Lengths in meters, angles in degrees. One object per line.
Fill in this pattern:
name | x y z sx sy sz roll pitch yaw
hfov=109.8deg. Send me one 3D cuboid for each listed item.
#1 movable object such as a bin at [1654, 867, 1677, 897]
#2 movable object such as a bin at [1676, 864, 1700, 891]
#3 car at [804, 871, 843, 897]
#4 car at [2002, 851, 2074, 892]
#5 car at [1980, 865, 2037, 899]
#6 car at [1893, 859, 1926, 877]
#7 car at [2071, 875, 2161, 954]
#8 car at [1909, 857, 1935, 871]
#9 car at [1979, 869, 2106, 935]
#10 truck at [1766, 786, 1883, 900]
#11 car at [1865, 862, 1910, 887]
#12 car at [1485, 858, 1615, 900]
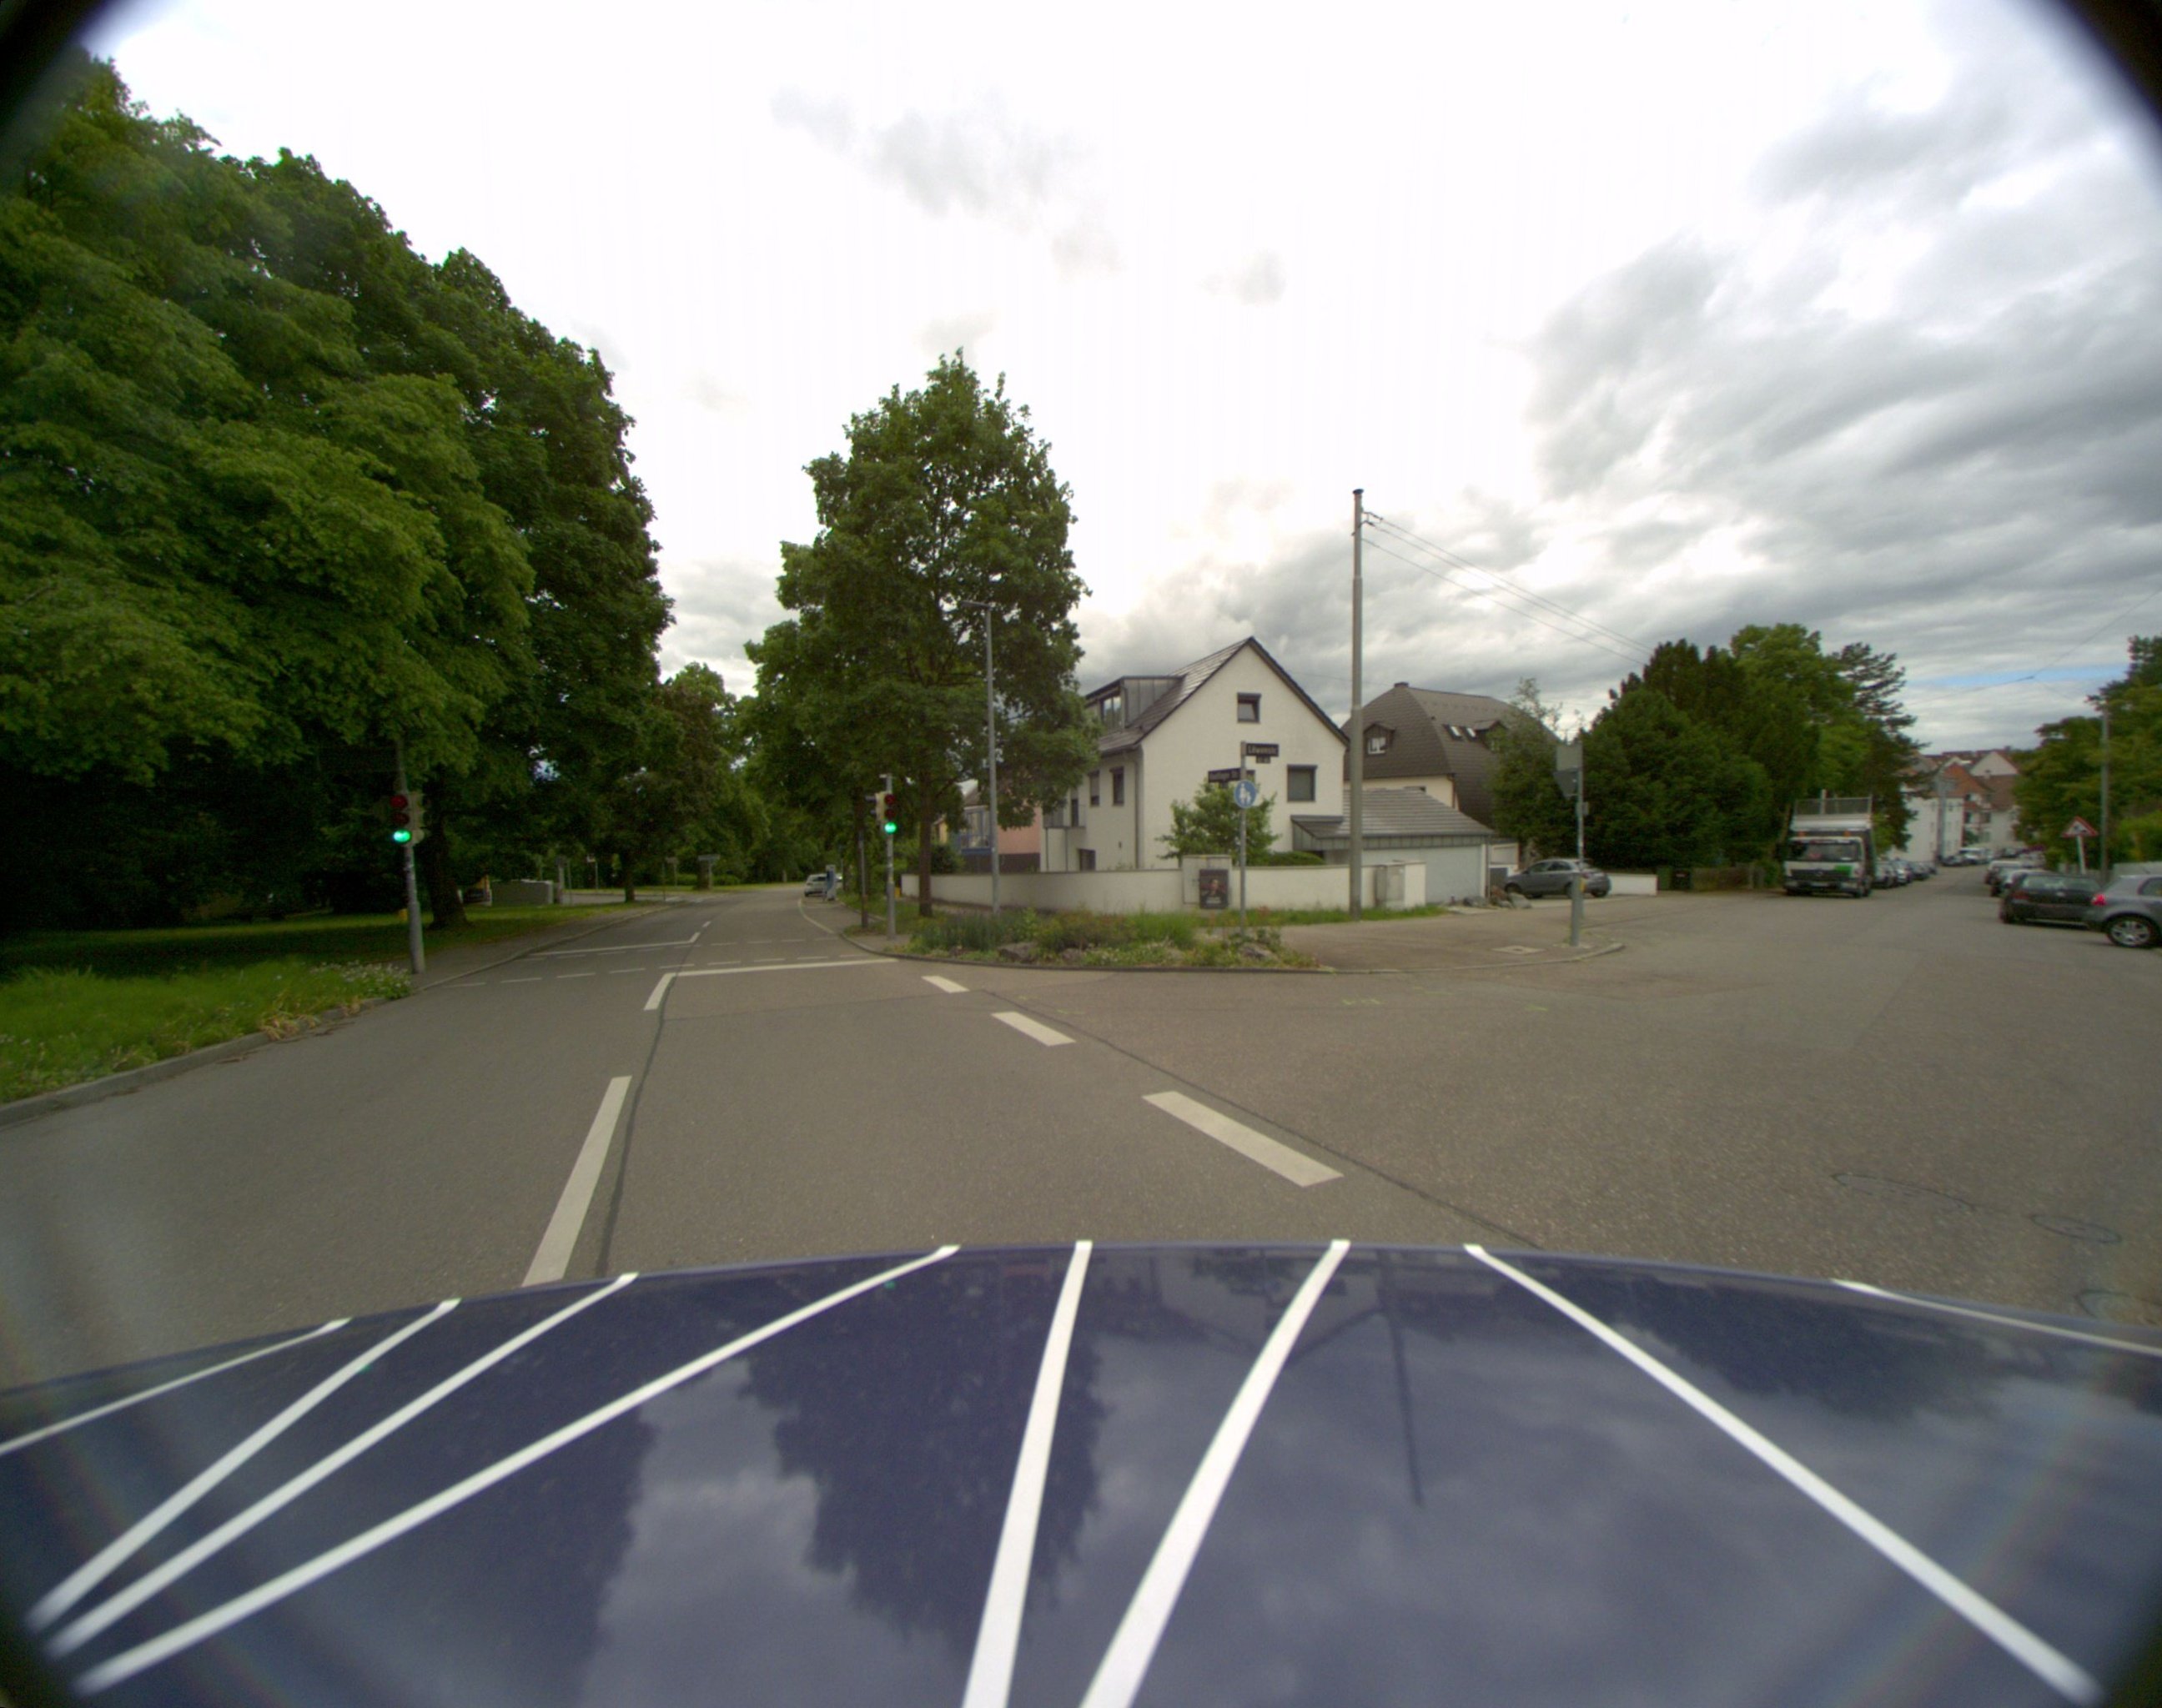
movable object such as a bin | 24.297 1.175 31.597 0.954 1.200 0.598 3 -3 -43
movable object such as a bin | 24.853 0.972 31.110 0.954 1.098 0.598 3 -3 -43
car | -17.701 2.015 52.337 2.000 1.543 3.995 0 1 -11
car | 38.340 0.673 30.507 3.319 1.461 1.616 0 4 -40
car | 45.928 1.335 37.674 3.319 1.461 1.616 0 4 -40
car | 75.177 1.245 68.947 3.832 1.543 1.871 0 1 -40
car | 21.740 1.191 13.953 1.740 1.454 3.992 0 0 -22
car | 98.301 1.174 88.772 3.832 1.543 1.871 0 1 -40
car | 25.375 1.194 20.187 3.810 1.436 1.753 0 4 -42
truck | 33.430 -0.469 34.053 7.969 4.526 3.145 0 2 -43
car | 53.629 1.316 50.509 3.832 1.543 1.871 0 1 -40
car | 17.812 0.983 29.031 1.695 1.487 3.852 0 -3 -27
